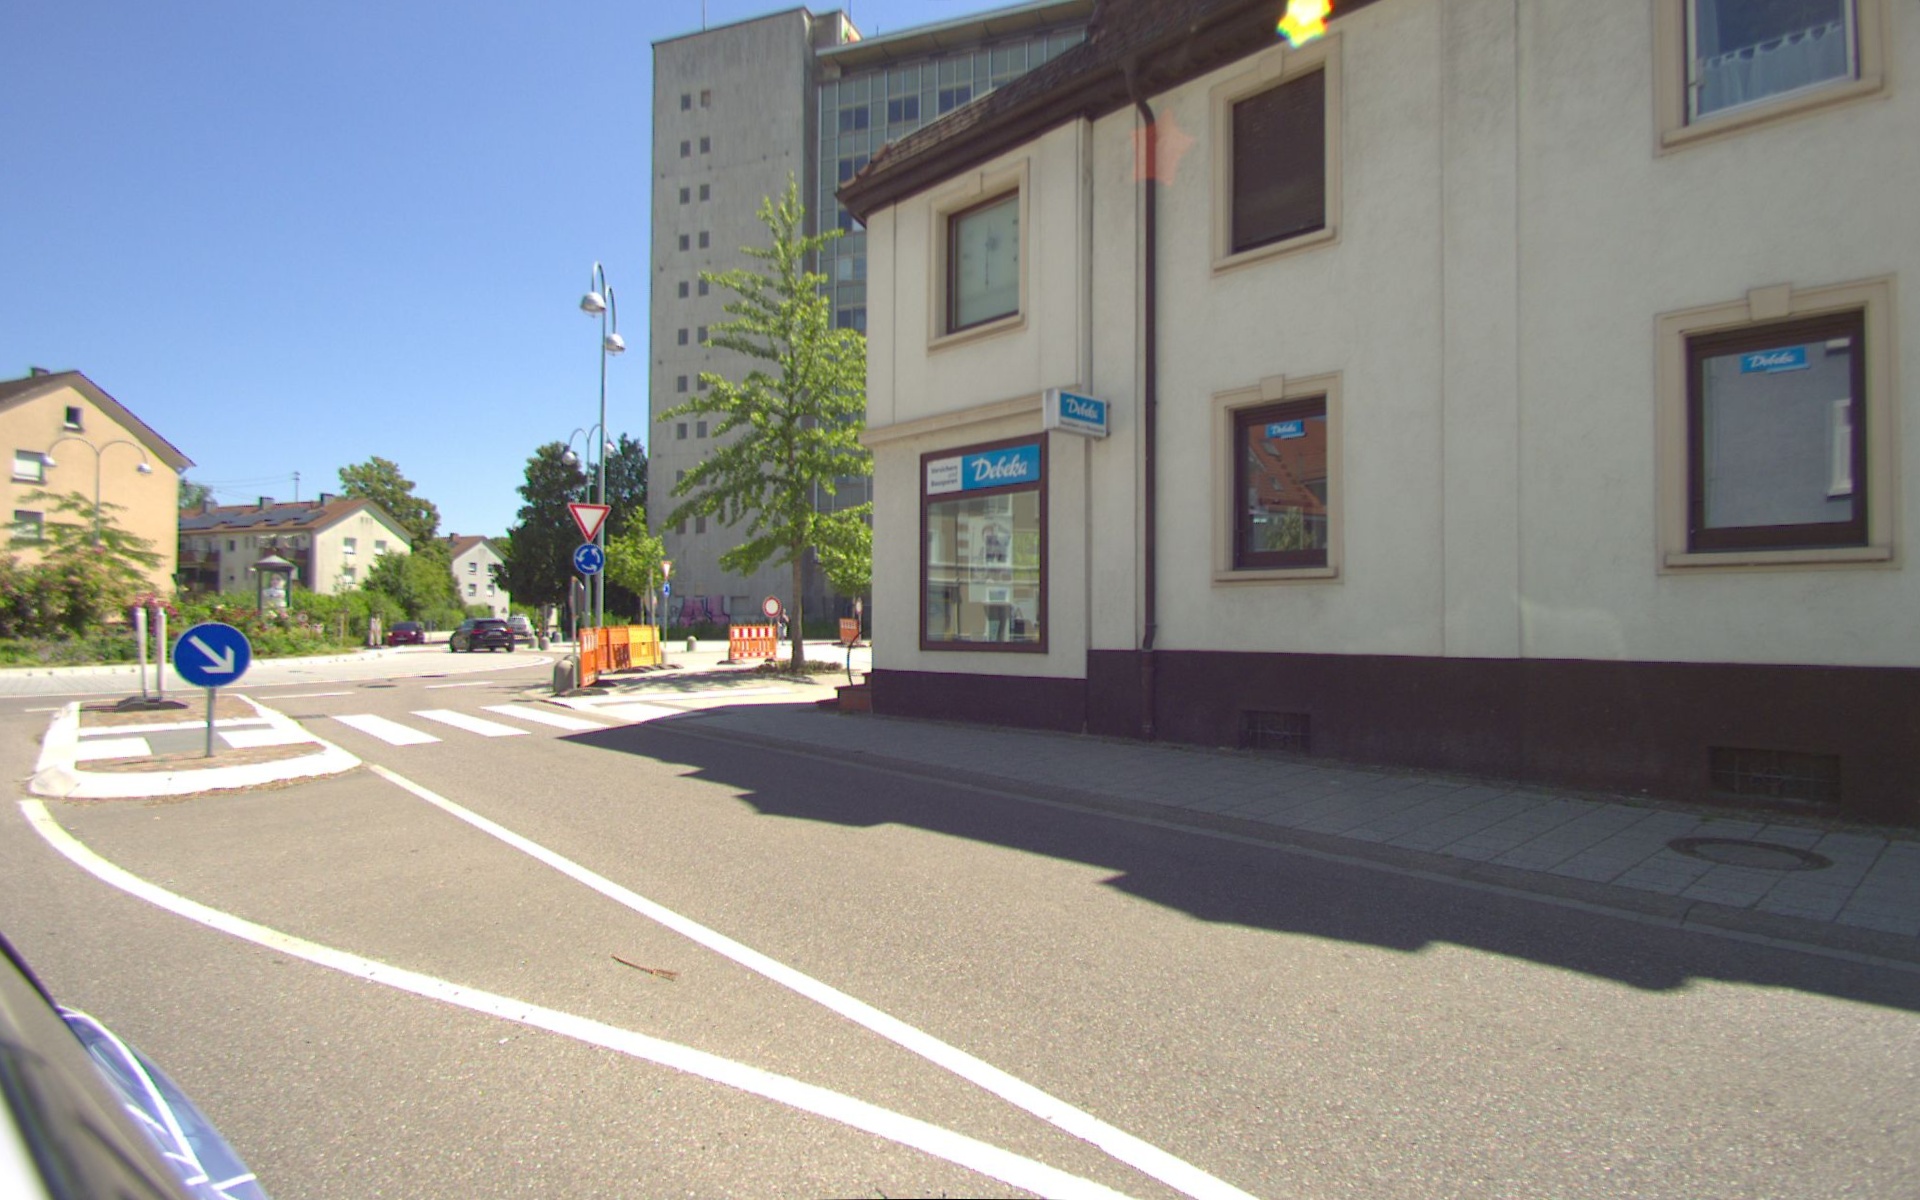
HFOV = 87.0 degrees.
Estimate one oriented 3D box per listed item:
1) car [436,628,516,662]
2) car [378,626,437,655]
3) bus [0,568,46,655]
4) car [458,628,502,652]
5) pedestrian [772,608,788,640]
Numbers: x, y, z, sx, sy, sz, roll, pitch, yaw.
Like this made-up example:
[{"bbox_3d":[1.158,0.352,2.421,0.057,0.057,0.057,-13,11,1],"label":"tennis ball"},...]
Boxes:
[{"bbox_3d":[-20.205,1.850,42.159,4.001,1.305,1.707,-2,-1,44],"label":"car"},{"bbox_3d":[-33.086,2.414,60.691,1.710,1.613,3.941,-1,-1,-5],"label":"car"},{"bbox_3d":[-35.557,0.396,31.433,2.890,3.085,12.558,-1,-1,1],"label":"bus"},{"bbox_3d":[-27.783,2.309,58.653,1.754,1.366,4.066,1,-2,-18],"label":"car"},{"bbox_3d":[-7.994,1.056,44.986,0.559,1.440,0.427,0,-1,16],"label":"pedestrian"}]
